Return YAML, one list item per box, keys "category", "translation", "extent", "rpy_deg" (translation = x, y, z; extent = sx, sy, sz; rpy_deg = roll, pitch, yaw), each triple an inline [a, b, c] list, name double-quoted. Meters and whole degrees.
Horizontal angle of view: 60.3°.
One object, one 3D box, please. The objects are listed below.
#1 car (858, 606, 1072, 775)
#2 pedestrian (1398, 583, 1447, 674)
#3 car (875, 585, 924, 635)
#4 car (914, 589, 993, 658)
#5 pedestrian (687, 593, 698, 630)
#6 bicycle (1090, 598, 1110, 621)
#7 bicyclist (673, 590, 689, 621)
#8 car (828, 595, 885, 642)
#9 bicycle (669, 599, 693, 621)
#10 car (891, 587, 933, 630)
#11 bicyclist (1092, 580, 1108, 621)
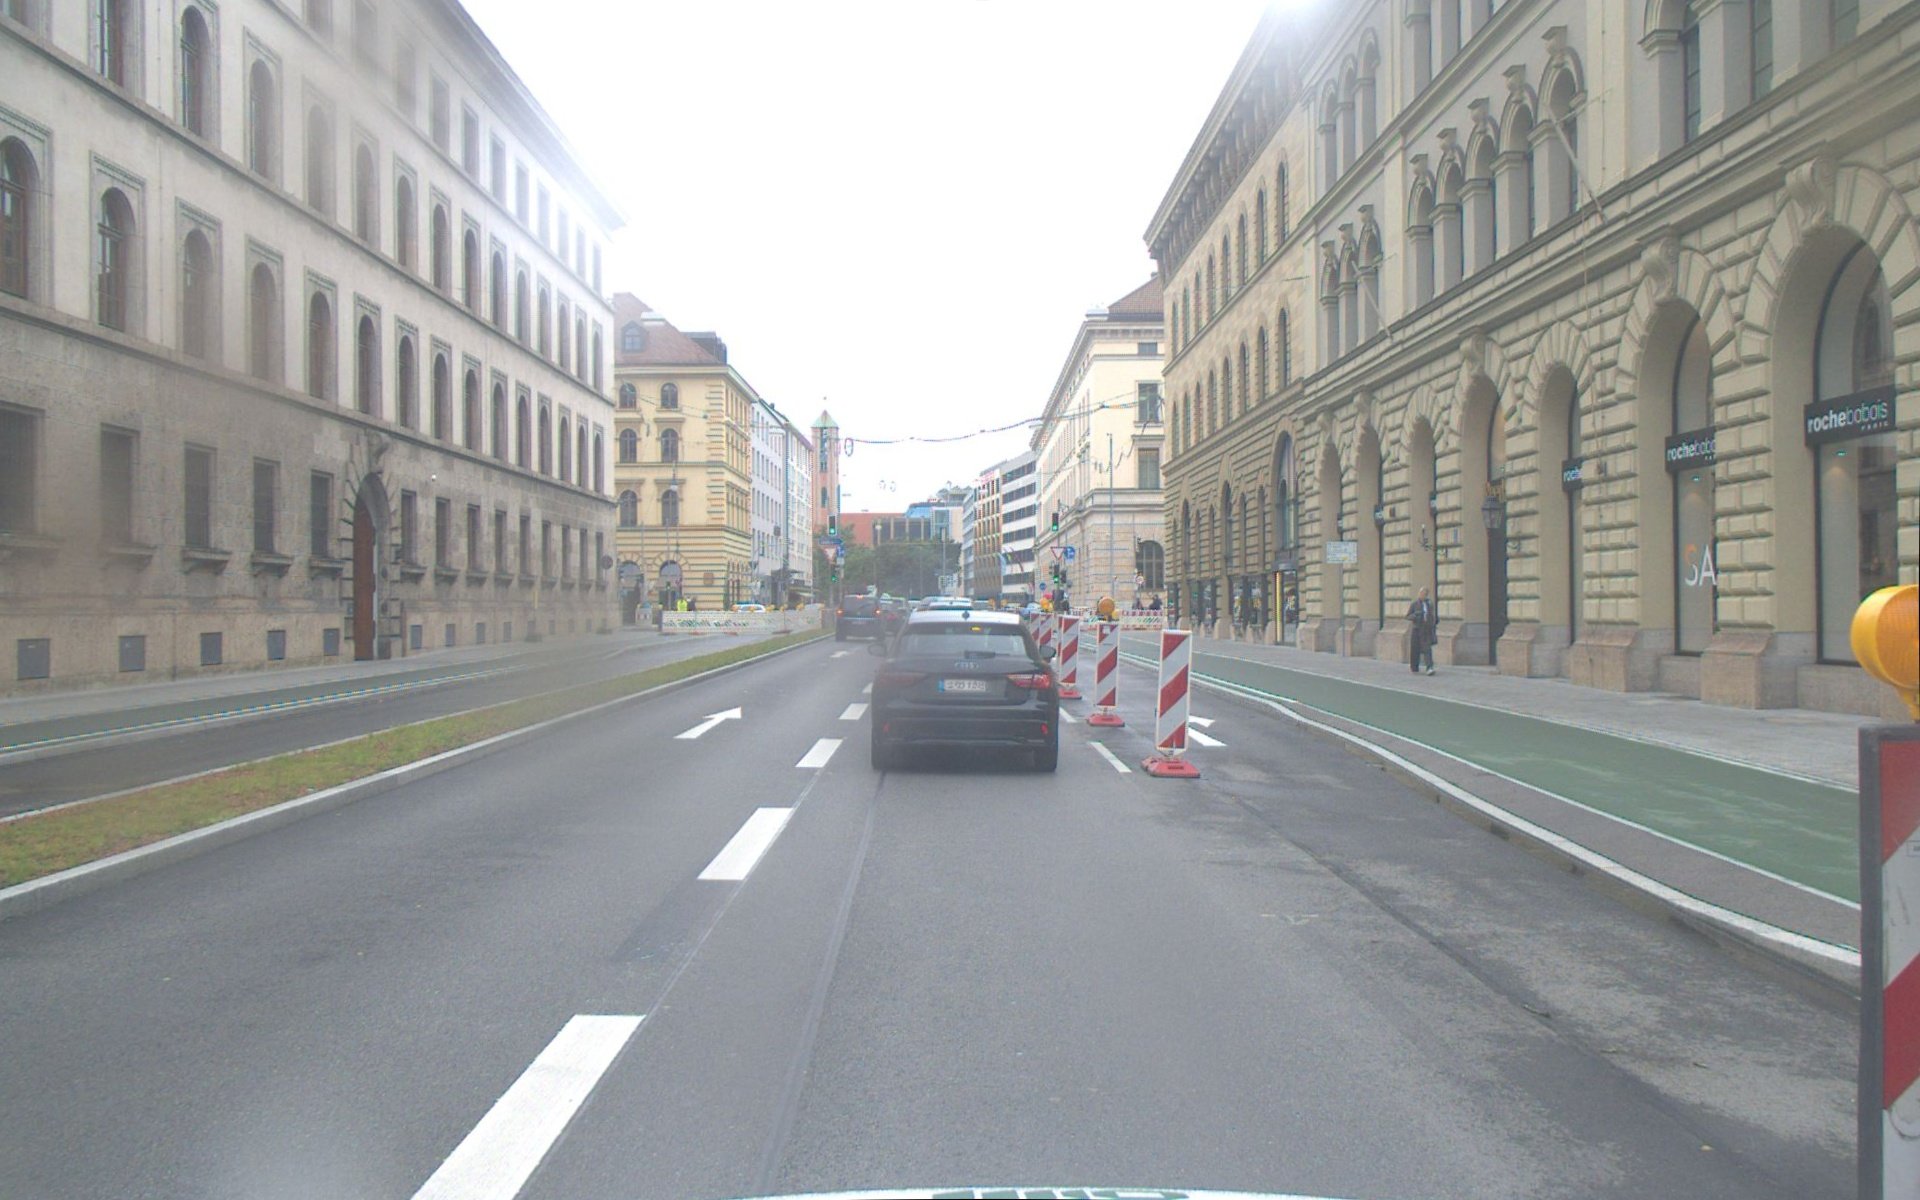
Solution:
- category: "car"
  translation: [0.023, 0.779, 16.118]
  extent: [1.825, 1.412, 3.999]
  rpy_deg: [0, 0, -1]
- category: "pedestrian"
  translation: [9.037, 0.544, 32.347]
  extent: [0.619, 1.734, 1.085]
  rpy_deg: [-1, 0, -1]
- category: "car"
  translation: [-2.498, 0.407, 69.183]
  extent: [1.953, 2.049, 3.999]
  rpy_deg: [0, 0, -1]
- category: "car"
  translation: [-0.209, 0.566, 41.566]
  extent: [1.734, 1.645, 3.997]
  rpy_deg: [1, 0, -4]
- category: "pedestrian"
  translation: [-13.013, 0.557, 80.507]
  extent: [0.503, 1.773, 1.041]
  rpy_deg: [0, 0, -10]
- category: "bicycle"
  translation: [6.369, 0.430, 75.424]
  extent: [0.573, 1.029, 1.654]
  rpy_deg: [1, 0, -6]
- category: "bicyclist"
  translation: [-15.808, 0.307, 93.745]
  extent: [0.781, 1.779, 0.689]
  rpy_deg: [1, 0, 3]
- category: "car"
  translation: [-3.697, 0.633, 59.632]
  extent: [1.827, 1.629, 3.850]
  rpy_deg: [-1, 0, -1]
- category: "bicycle"
  translation: [-15.808, 0.557, 93.805]
  extent: [0.770, 1.264, 2.450]
  rpy_deg: [1, 0, 4]
- category: "car"
  translation: [-2.343, 0.412, 81.437]
  extent: [1.953, 2.049, 4.000]
  rpy_deg: [-1, 0, 0]
- category: "bicyclist"
  translation: [6.374, 0.024, 75.431]
  extent: [0.555, 1.886, 0.798]
  rpy_deg: [1, 0, -6]
